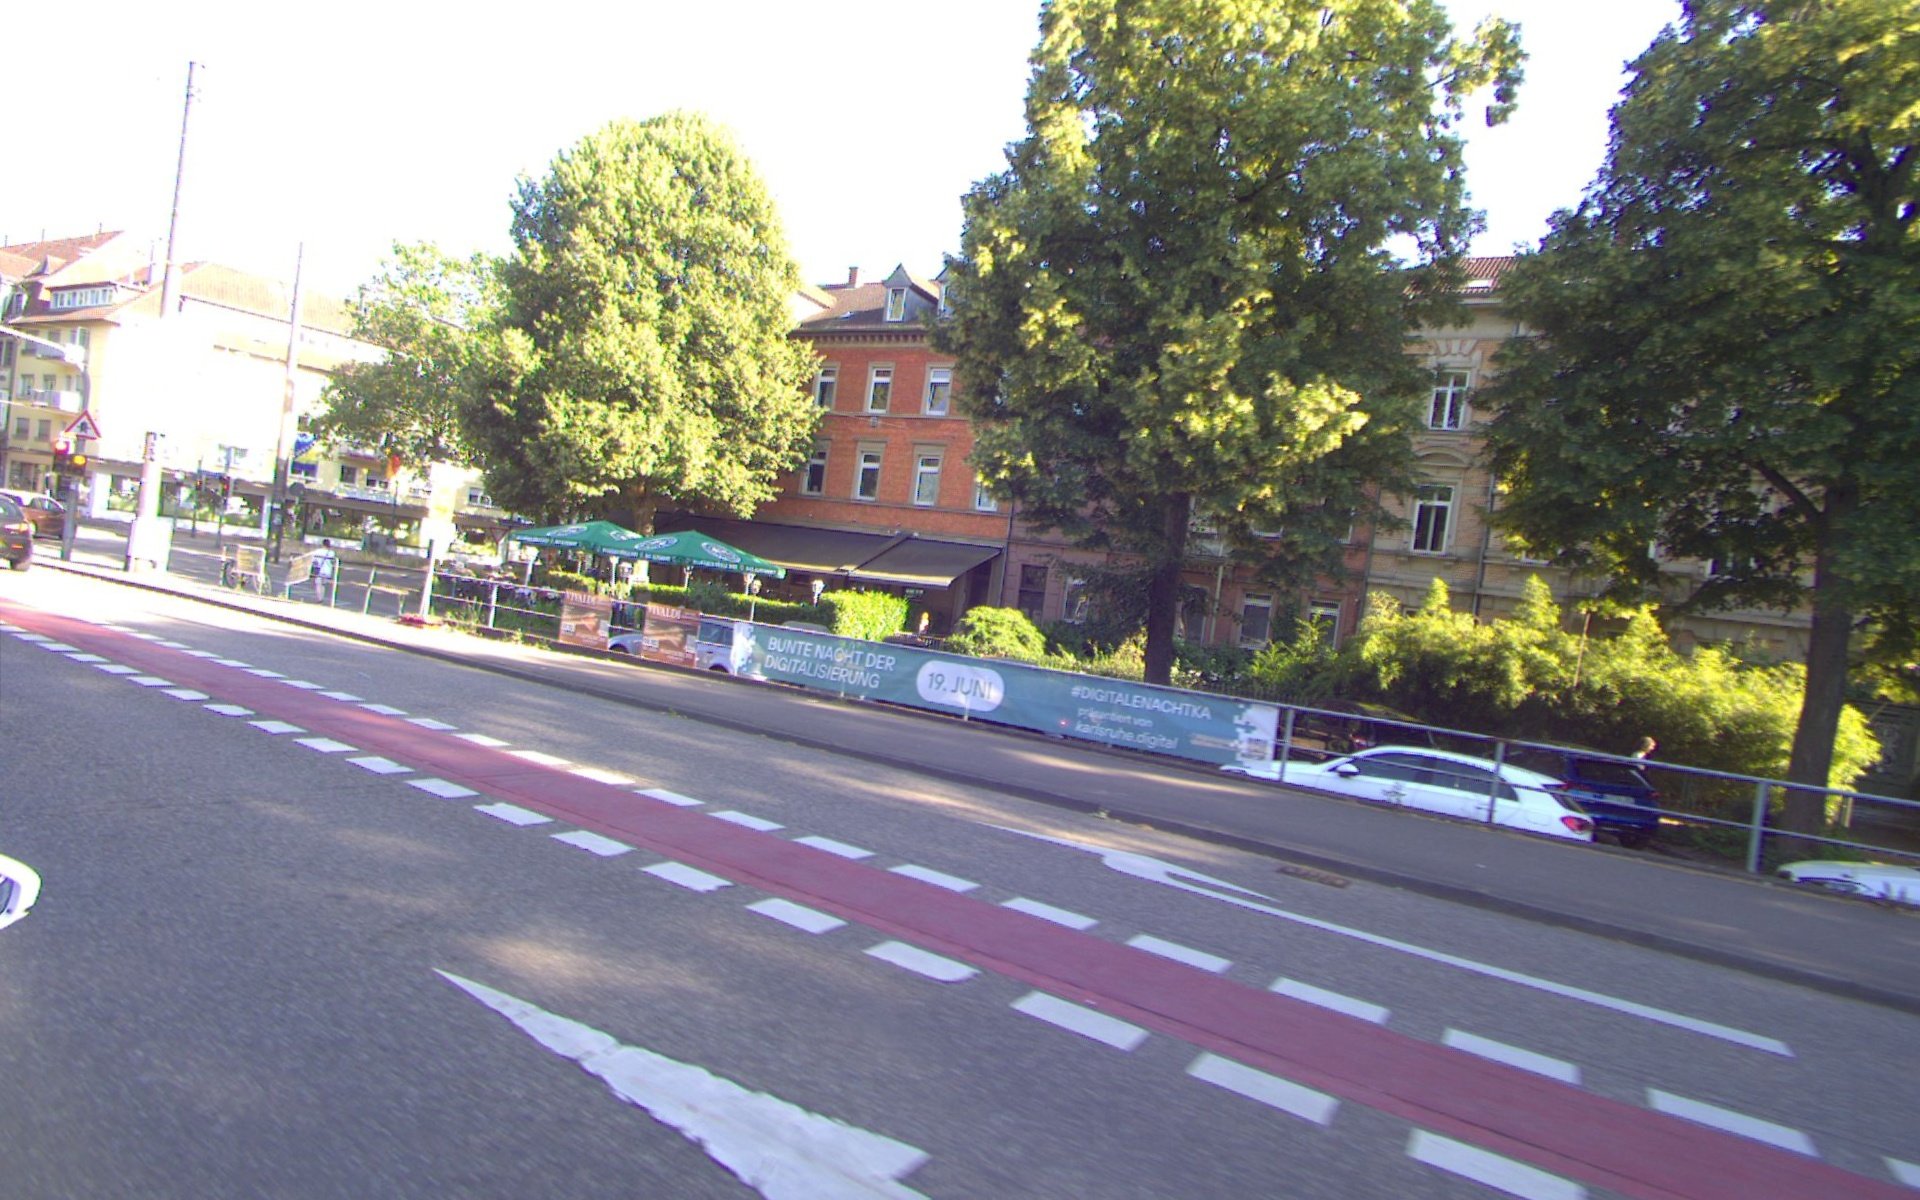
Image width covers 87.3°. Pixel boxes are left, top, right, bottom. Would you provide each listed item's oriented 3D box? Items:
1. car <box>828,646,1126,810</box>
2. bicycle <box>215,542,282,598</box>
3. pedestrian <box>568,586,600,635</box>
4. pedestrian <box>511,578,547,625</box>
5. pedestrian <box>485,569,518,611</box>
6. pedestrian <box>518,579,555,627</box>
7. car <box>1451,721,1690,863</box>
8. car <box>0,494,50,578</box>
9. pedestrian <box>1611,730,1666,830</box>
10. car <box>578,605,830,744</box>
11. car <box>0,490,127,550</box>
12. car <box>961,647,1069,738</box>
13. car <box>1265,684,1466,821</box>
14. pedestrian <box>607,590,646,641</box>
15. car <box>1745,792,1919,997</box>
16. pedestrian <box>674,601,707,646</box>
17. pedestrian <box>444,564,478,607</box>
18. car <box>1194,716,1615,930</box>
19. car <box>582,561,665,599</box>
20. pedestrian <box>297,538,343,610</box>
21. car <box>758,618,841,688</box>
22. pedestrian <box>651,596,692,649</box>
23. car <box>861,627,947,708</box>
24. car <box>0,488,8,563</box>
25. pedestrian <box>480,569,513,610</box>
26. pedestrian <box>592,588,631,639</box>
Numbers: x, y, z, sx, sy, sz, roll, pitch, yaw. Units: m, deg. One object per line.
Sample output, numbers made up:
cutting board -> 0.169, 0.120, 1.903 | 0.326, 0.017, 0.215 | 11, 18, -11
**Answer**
car -> 0.262, 1.912, 15.805 | 4.136, 1.824, 1.800 | 6, -1, 25
bicycle -> -16.225, -0.697, 22.934 | 1.770, 1.087, 0.499 | 6, -1, 32
pedestrian -> -11.176, 0.298, 29.913 | 0.643, 1.352, 0.627 | 9, -2, -28
pedestrian -> -13.776, 0.047, 32.173 | 0.621, 1.352, 0.649 | 7, -2, 32
pedestrian -> -16.066, -0.341, 35.279 | 0.621, 1.352, 0.649 | 7, -2, 32
pedestrian -> -13.158, 0.094, 31.294 | 0.621, 1.352, 0.649 | 7, -2, 32
car -> 10.692, 3.295, 18.020 | 1.766, 1.533, 3.998 | 7, 1, 2
car -> -19.361, -1.436, 19.216 | 3.978, 1.455, 1.804 | 7, -2, 32
pedestrian -> 13.165, 3.475, 19.541 | 0.621, 1.768, 0.649 | 7, 1, 27
car -> -4.760, 1.324, 18.574 | 4.285, 1.920, 1.798 | 6, -1, 30
car -> -30.408, -2.675, 33.597 | 1.768, 1.528, 3.998 | 8, 0, -2
car -> 1.159, 2.054, 23.324 | 1.929, 1.424, 4.245 | 7, 1, -3
car -> 7.617, 2.805, 19.367 | 1.768, 1.757, 3.994 | 7, 1, -5
pedestrian -> -9.670, 0.459, 29.145 | 0.621, 1.352, 0.649 | 7, -2, 32
car -> 10.487, 3.097, 9.532 | 4.478, 1.597, 1.797 | 6, -2, 32
pedestrian -> -8.430, 0.737, 31.510 | 0.604, 1.275, 0.633 | 8, -2, 14
pedestrian -> -17.348, -0.512, 34.994 | 0.621, 1.352, 0.649 | 7, -2, 32
car -> 5.380, 2.557, 12.462 | 4.369, 1.597, 1.797 | 6, -2, 32
car -> -18.515, -1.094, 55.334 | 3.956, 1.528, 1.787 | 8, -1, -29
pedestrian -> -15.205, -0.619, 23.902 | 0.646, 1.580, 0.625 | 10, -2, -39
car -> -4.203, 1.339, 26.810 | 1.747, 1.365, 3.995 | 7, 1, -5
pedestrian -> -7.992, 0.626, 27.880 | 0.621, 1.352, 0.649 | 7, -2, 32
car -> -1.498, 1.639, 25.569 | 1.769, 1.499, 3.993 | 7, 1, -7
car -> -12.086, -0.696, 10.477 | 4.774, 1.490, 1.932 | 7, -1, 32
pedestrian -> -16.628, -0.384, 36.081 | 0.621, 1.352, 0.649 | 7, -2, 32
pedestrian -> -10.286, 0.401, 29.700 | 0.621, 1.352, 0.649 | 7, -2, 32
